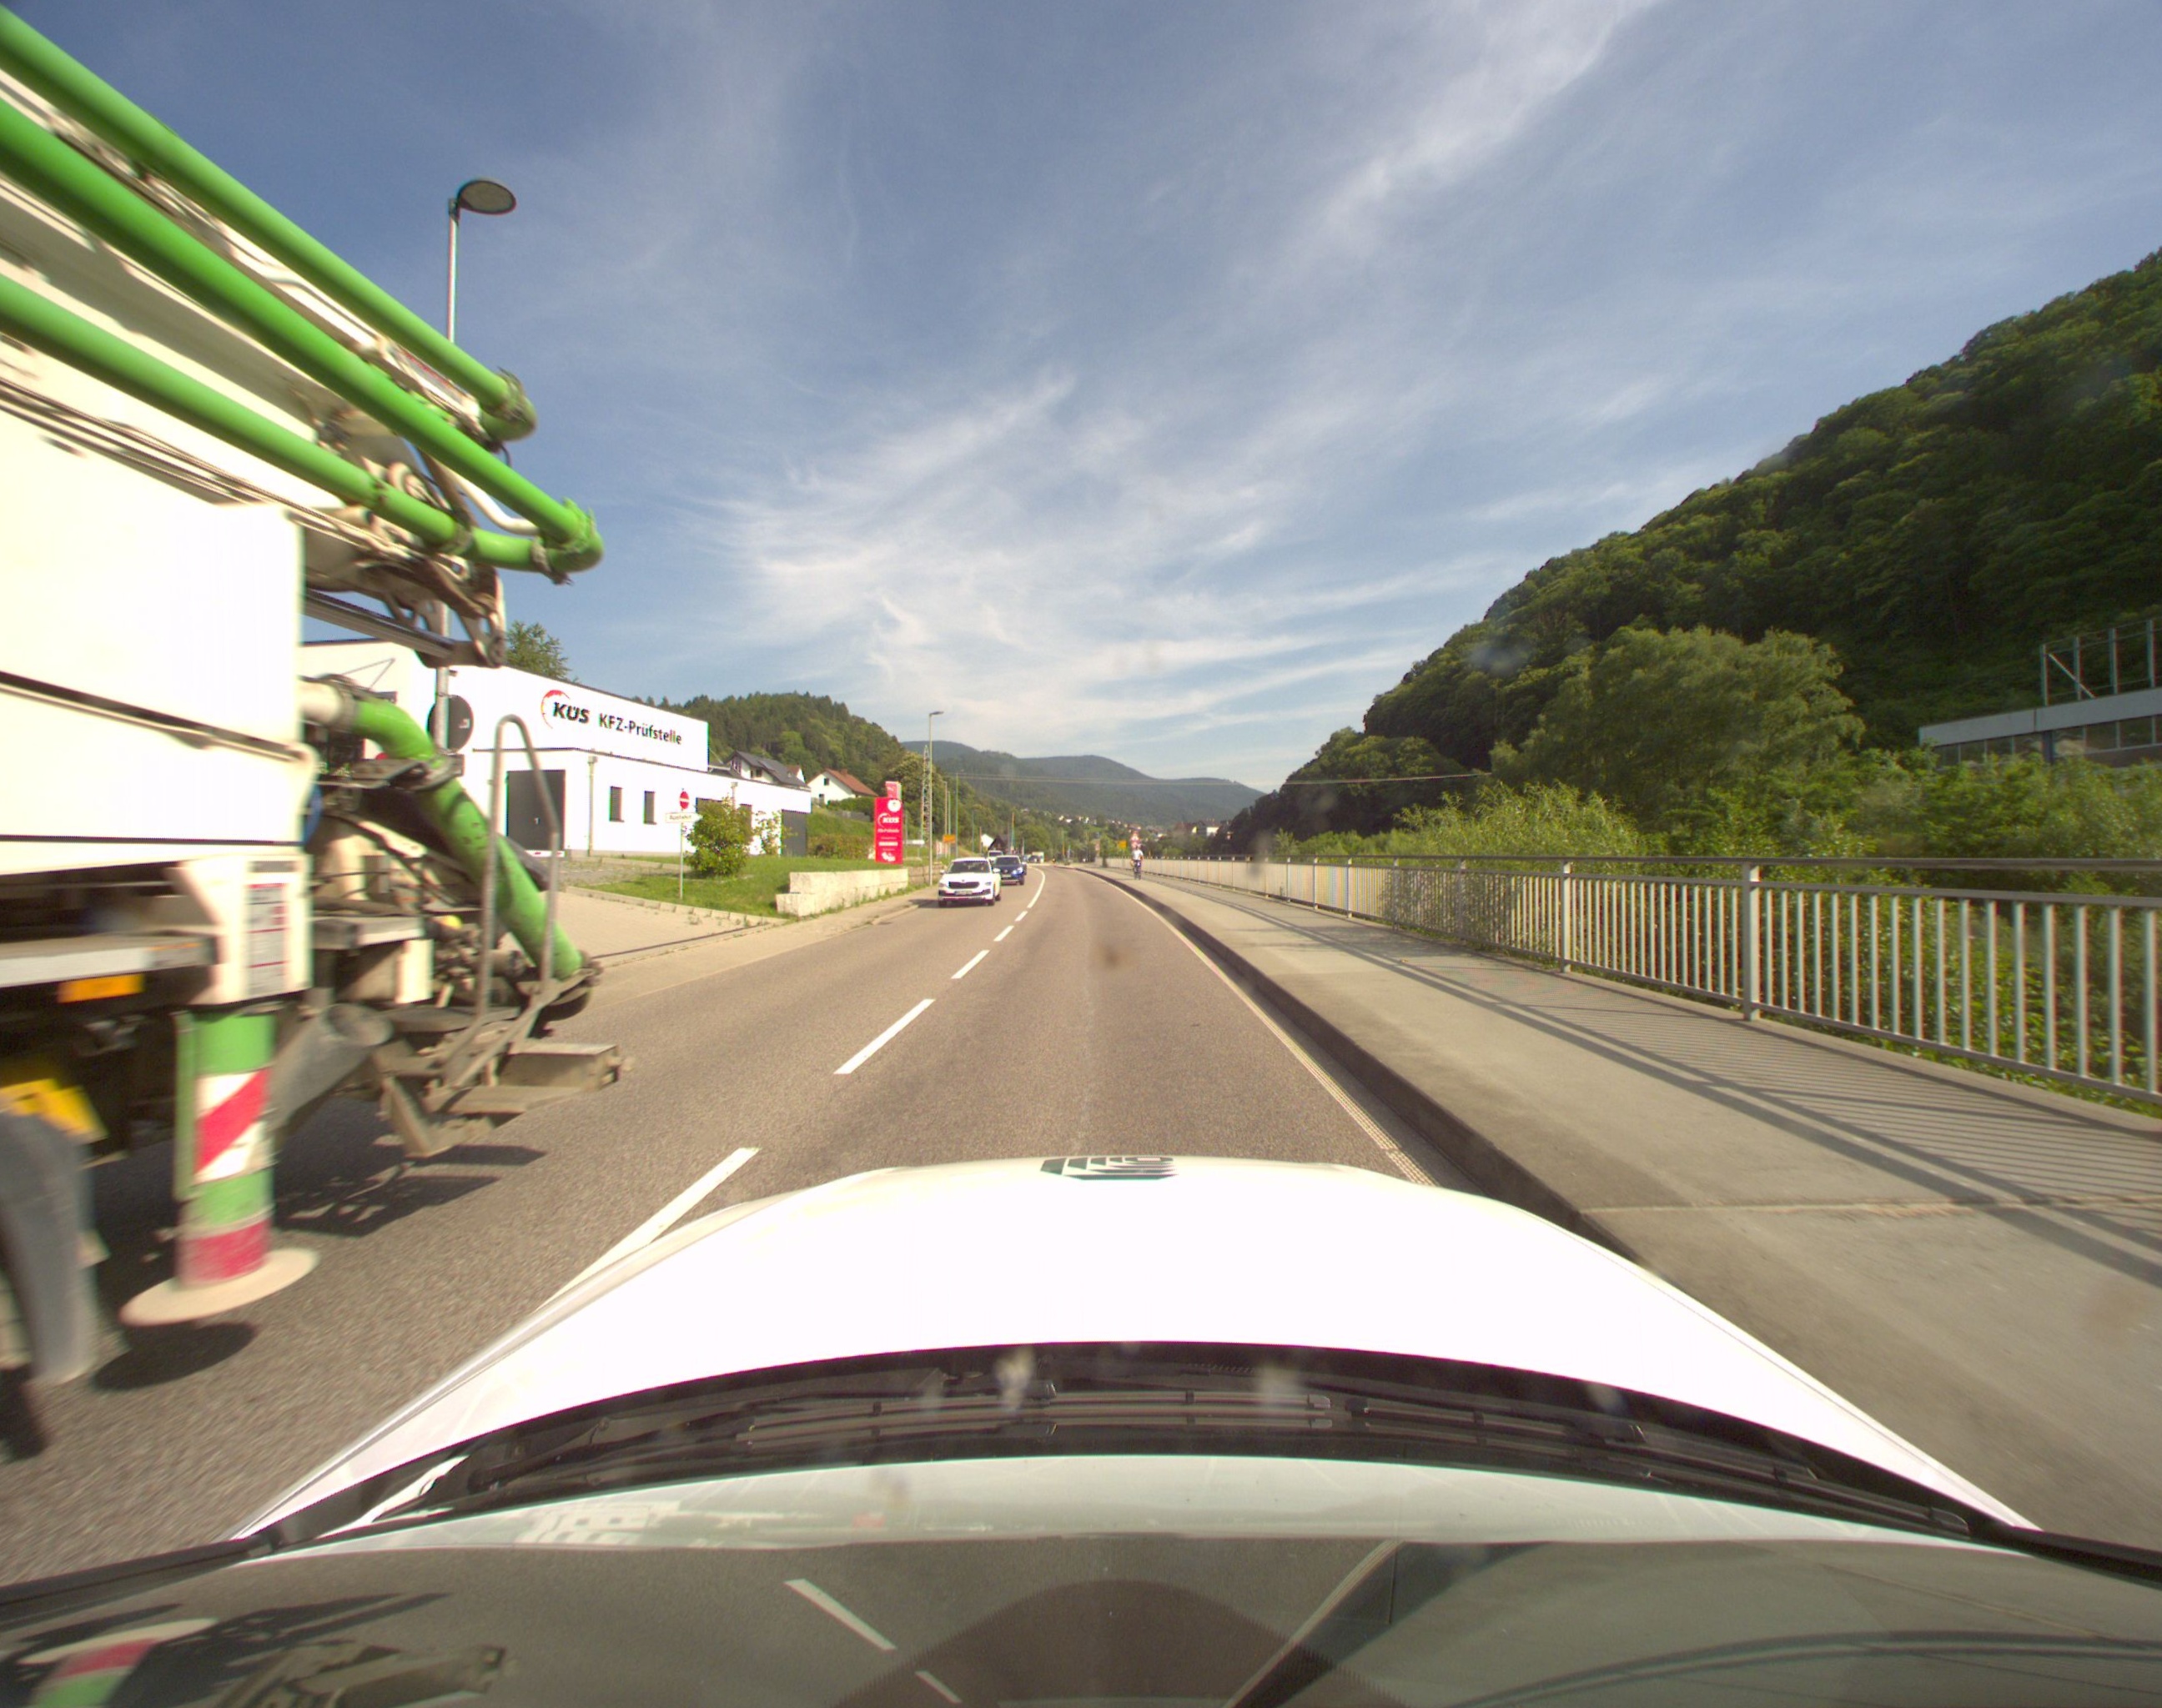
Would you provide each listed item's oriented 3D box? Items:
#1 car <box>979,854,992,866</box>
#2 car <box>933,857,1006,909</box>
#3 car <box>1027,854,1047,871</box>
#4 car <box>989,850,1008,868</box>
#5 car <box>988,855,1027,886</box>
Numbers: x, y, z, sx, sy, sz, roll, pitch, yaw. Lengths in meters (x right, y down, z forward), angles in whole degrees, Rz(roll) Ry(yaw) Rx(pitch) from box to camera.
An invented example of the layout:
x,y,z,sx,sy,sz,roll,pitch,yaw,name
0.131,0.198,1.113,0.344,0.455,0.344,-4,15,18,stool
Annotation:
x,y,z,sx,sy,sz,roll,pitch,yaw,name
-12.947,0.739,110.701,1.704,1.584,4.149,1,0,-7,car
-3.552,0.872,26.675,1.743,1.504,4.190,-2,0,0,car
-4.395,0.858,82.122,1.792,1.618,4.460,0,0,-1,car
-8.901,0.547,88.243,1.893,1.887,5.287,1,0,-5,car
-3.858,0.839,43.063,1.739,1.526,3.998,-2,0,-1,car
